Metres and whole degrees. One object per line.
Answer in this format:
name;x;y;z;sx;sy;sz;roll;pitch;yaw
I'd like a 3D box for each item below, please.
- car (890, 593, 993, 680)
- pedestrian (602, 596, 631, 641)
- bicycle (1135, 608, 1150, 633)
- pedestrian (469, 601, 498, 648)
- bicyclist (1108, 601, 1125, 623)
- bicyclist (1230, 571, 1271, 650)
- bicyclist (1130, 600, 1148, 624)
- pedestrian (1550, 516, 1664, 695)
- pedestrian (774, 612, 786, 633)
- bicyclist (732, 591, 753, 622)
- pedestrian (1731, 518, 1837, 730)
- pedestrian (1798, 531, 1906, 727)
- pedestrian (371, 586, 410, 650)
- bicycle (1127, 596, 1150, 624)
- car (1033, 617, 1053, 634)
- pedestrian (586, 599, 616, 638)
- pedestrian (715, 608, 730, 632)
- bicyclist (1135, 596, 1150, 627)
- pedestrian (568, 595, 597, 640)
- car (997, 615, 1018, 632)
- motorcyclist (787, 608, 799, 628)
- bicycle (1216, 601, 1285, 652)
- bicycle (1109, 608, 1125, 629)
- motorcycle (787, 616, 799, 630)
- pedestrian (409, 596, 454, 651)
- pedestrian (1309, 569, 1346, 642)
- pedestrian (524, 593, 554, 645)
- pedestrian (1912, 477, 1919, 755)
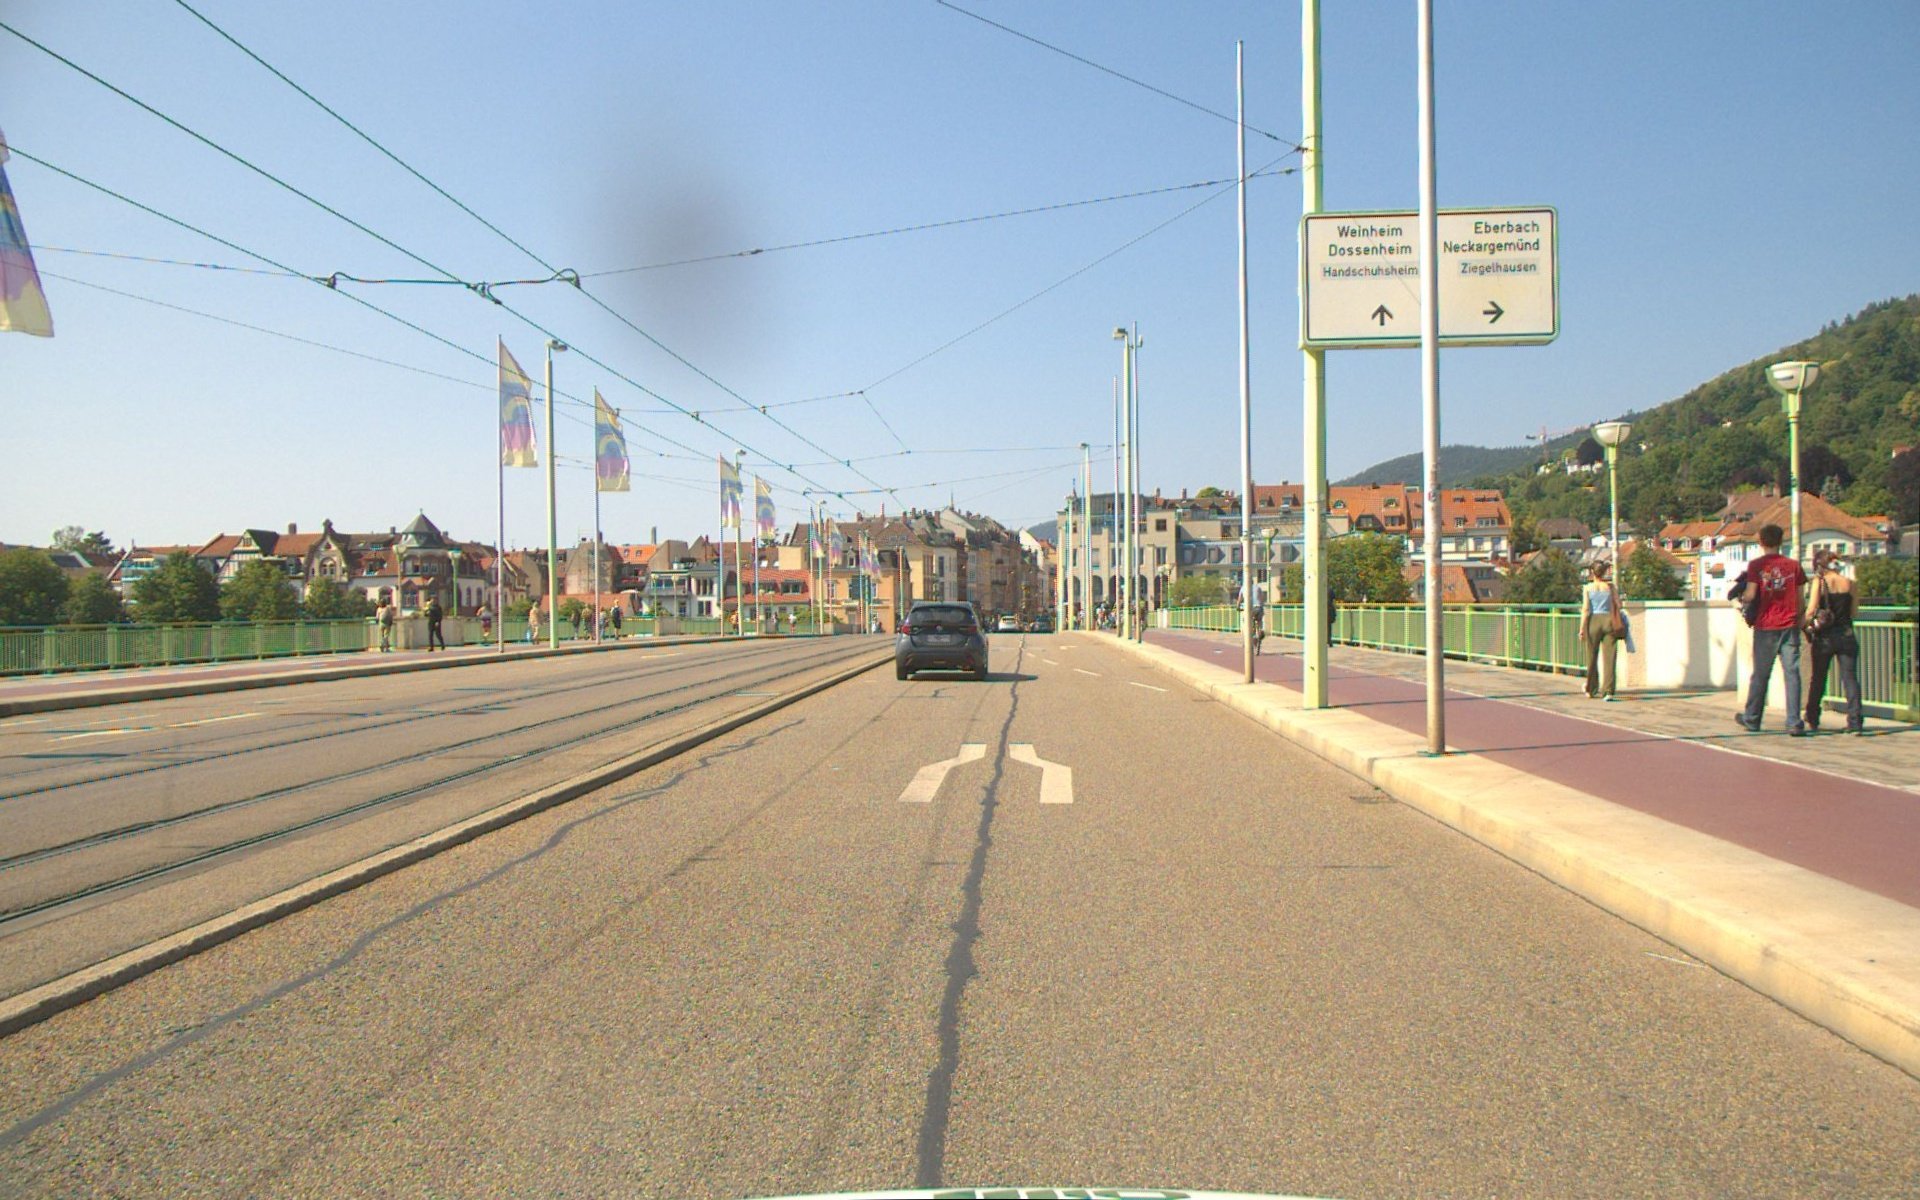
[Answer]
car;-0.353;0.680;32.768;1.871;1.567;4.000;-2;0;0
pedestrian;-16.043;0.859;77.310;1.075;2.049;1.295;-1;0;0
bicycle;9.846;1.100;89.312;0.605;1.293;2.216;-1;-1;0
pedestrian;-17.949;0.930;62.302;0.739;1.752;1.175;0;-1;0
bicyclist;7.768;0.607;82.175;0.720;1.048;1.175;-1;-1;0
bicyclist;6.668;0.244;37.966;0.659;1.774;1.150;-1;0;-2
bicyclist;8.033;0.522;74.180;0.653;1.063;0.979;-1;-1;-4
pedestrian;7.615;0.068;19.506;0.856;2.049;1.058;-1;-1;-4
pedestrian;-14.833;1.857;136.063;0.813;1.752;1.094;-1;-1;2
bicyclist;-14.097;0.425;107.250;1.075;1.995;1.129;3;0;0
pedestrian;7.273;0.210;14.622;0.573;1.825;0.632;-1;-1;-3
pedestrian;7.840;0.253;14.553;0.512;1.678;0.699;-1;-1;-4
pedestrian;-18.540;0.581;53.832;0.880;2.049;1.042;-1;0;0
bicycle;8.008;0.445;74.187;0.681;1.214;2.078;-1;-1;-3
car;8.199;2.503;162.463;1.766;1.494;4.002;-2;-1;4
pedestrian;-16.654;0.844;76.794;1.075;1.759;1.295;1;0;0
pedestrian;-16.887;1.420;117.518;0.880;1.687;1.029;0;-1;4
bicyclist;9.843;0.614;89.206;0.720;1.664;0.867;-1;-1;0
pedestrian;-17.584;0.808;77.140;1.075;2.049;1.129;-1;0;0
car;4.336;2.141;150.791;1.767;1.494;3.999;-2;-1;-1
motorcyclist;-13.044;1.387;129.451;0.784;1.576;1.069;-1;-1;2
bicycle;6.669;0.586;38.167;0.776;1.115;3.743;-1;0;-2
bicycle;7.809;0.911;82.170;0.605;1.056;2.051;-1;-1;0
motorcycle;-13.058;1.798;129.426;0.686;1.129;2.179;-1;-1;2
pedestrian;-17.432;0.761;54.581;1.075;1.789;1.295;-1;0;0
pedestrian;9.171;0.124;41.324;0.641;1.774;0.978;-1;1;-3
pedestrian;-16.744;0.738;65.843;0.949;2.049;1.101;-1;0;-3
pedestrian;7.162;0.097;10.909;0.965;1.928;1.253;-1;-1;-4
